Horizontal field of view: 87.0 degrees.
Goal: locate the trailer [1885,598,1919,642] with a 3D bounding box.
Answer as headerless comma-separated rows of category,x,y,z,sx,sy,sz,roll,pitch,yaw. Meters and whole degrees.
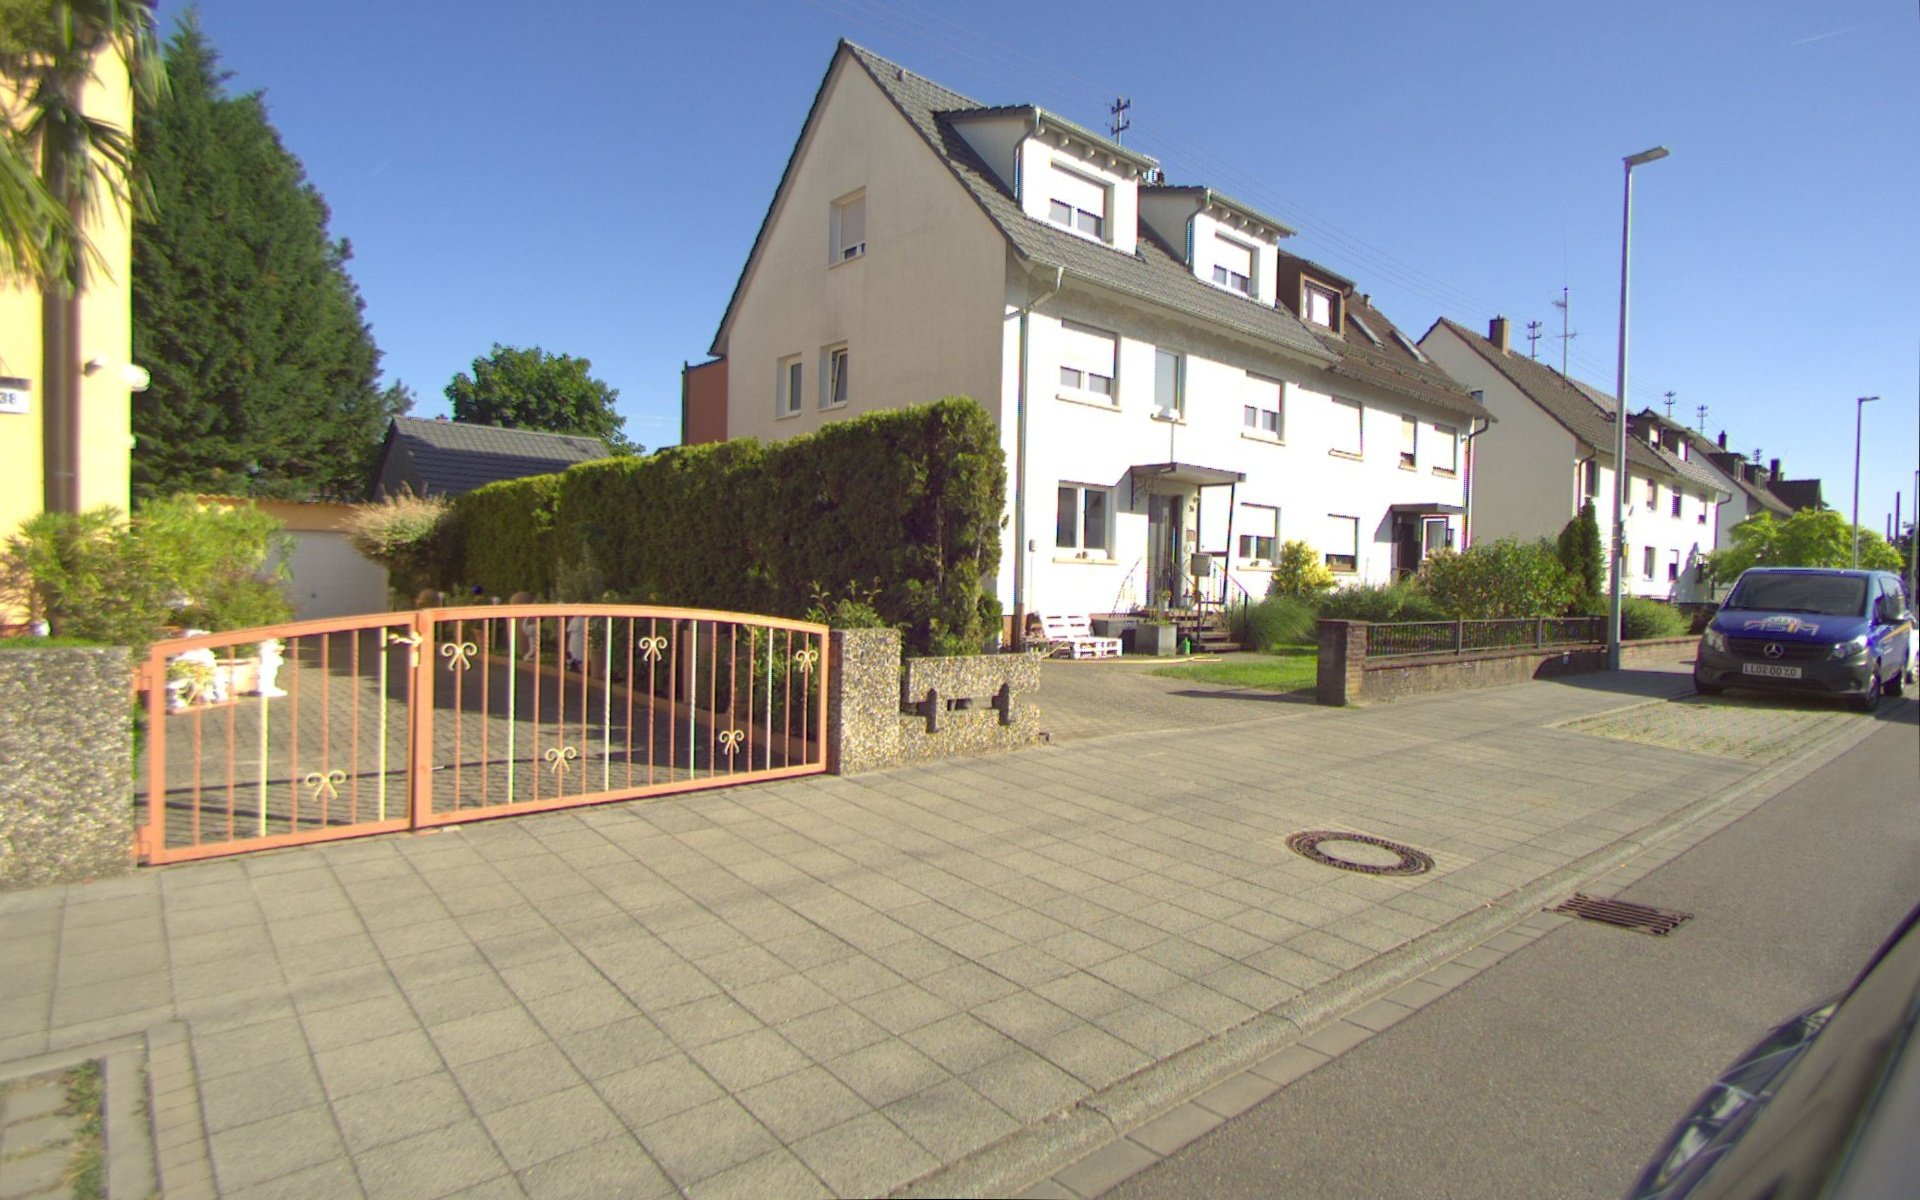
trailer,29.392,0.623,30.202,6.331,1.144,2.275,0,5,-45

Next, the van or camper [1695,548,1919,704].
van or camper,12.738,0.257,14.902,5.487,1.869,1.953,-1,3,-42

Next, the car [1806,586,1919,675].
car,17.825,0.502,19.579,5.199,1.476,1.731,0,2,-45
